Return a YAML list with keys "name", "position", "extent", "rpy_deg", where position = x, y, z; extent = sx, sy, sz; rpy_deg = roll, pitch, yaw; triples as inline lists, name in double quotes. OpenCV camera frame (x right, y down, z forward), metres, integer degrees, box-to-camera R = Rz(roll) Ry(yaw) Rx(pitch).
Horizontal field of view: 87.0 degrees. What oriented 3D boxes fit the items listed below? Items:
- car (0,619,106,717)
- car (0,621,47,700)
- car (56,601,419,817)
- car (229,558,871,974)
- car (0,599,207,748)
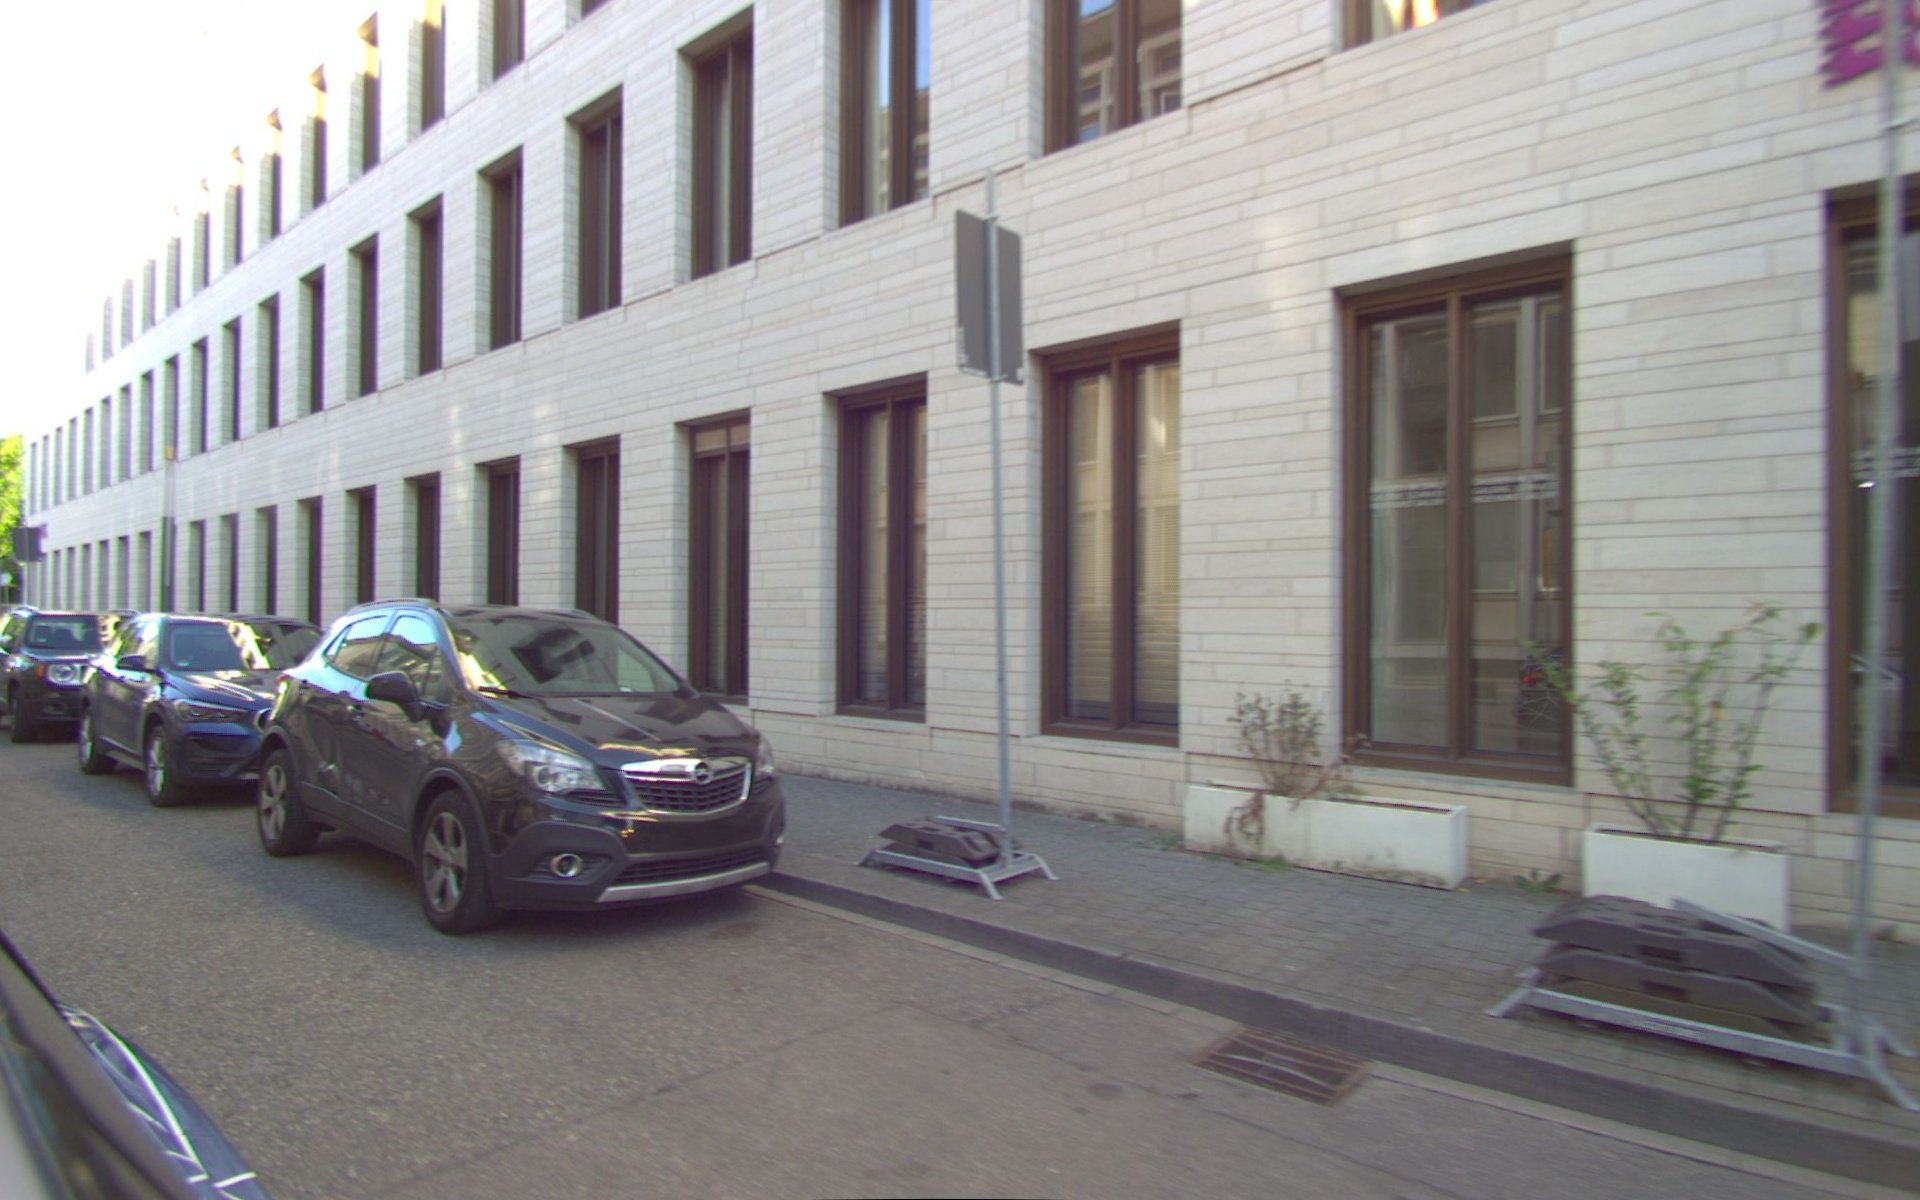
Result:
- name: "car"
  position: [-16.739, 1.129, 17.782]
  extent: [4.257, 1.553, 1.805]
  rpy_deg: [-1, -2, 38]
- name: "car"
  position: [-20.754, 1.229, 21.176]
  extent: [4.442, 1.553, 1.804]
  rpy_deg: [-1, -3, 40]
- name: "car"
  position: [-6.920, 0.894, 9.539]
  extent: [4.150, 1.607, 1.722]
  rpy_deg: [-1, -4, 40]
- name: "car"
  position: [-2.710, 0.759, 6.209]
  extent: [4.259, 1.690, 1.804]
  rpy_deg: [-1, -4, 40]
- name: "car"
  position: [-12.021, 0.936, 13.764]
  extent: [4.012, 1.728, 1.805]
  rpy_deg: [-1, -4, 38]
